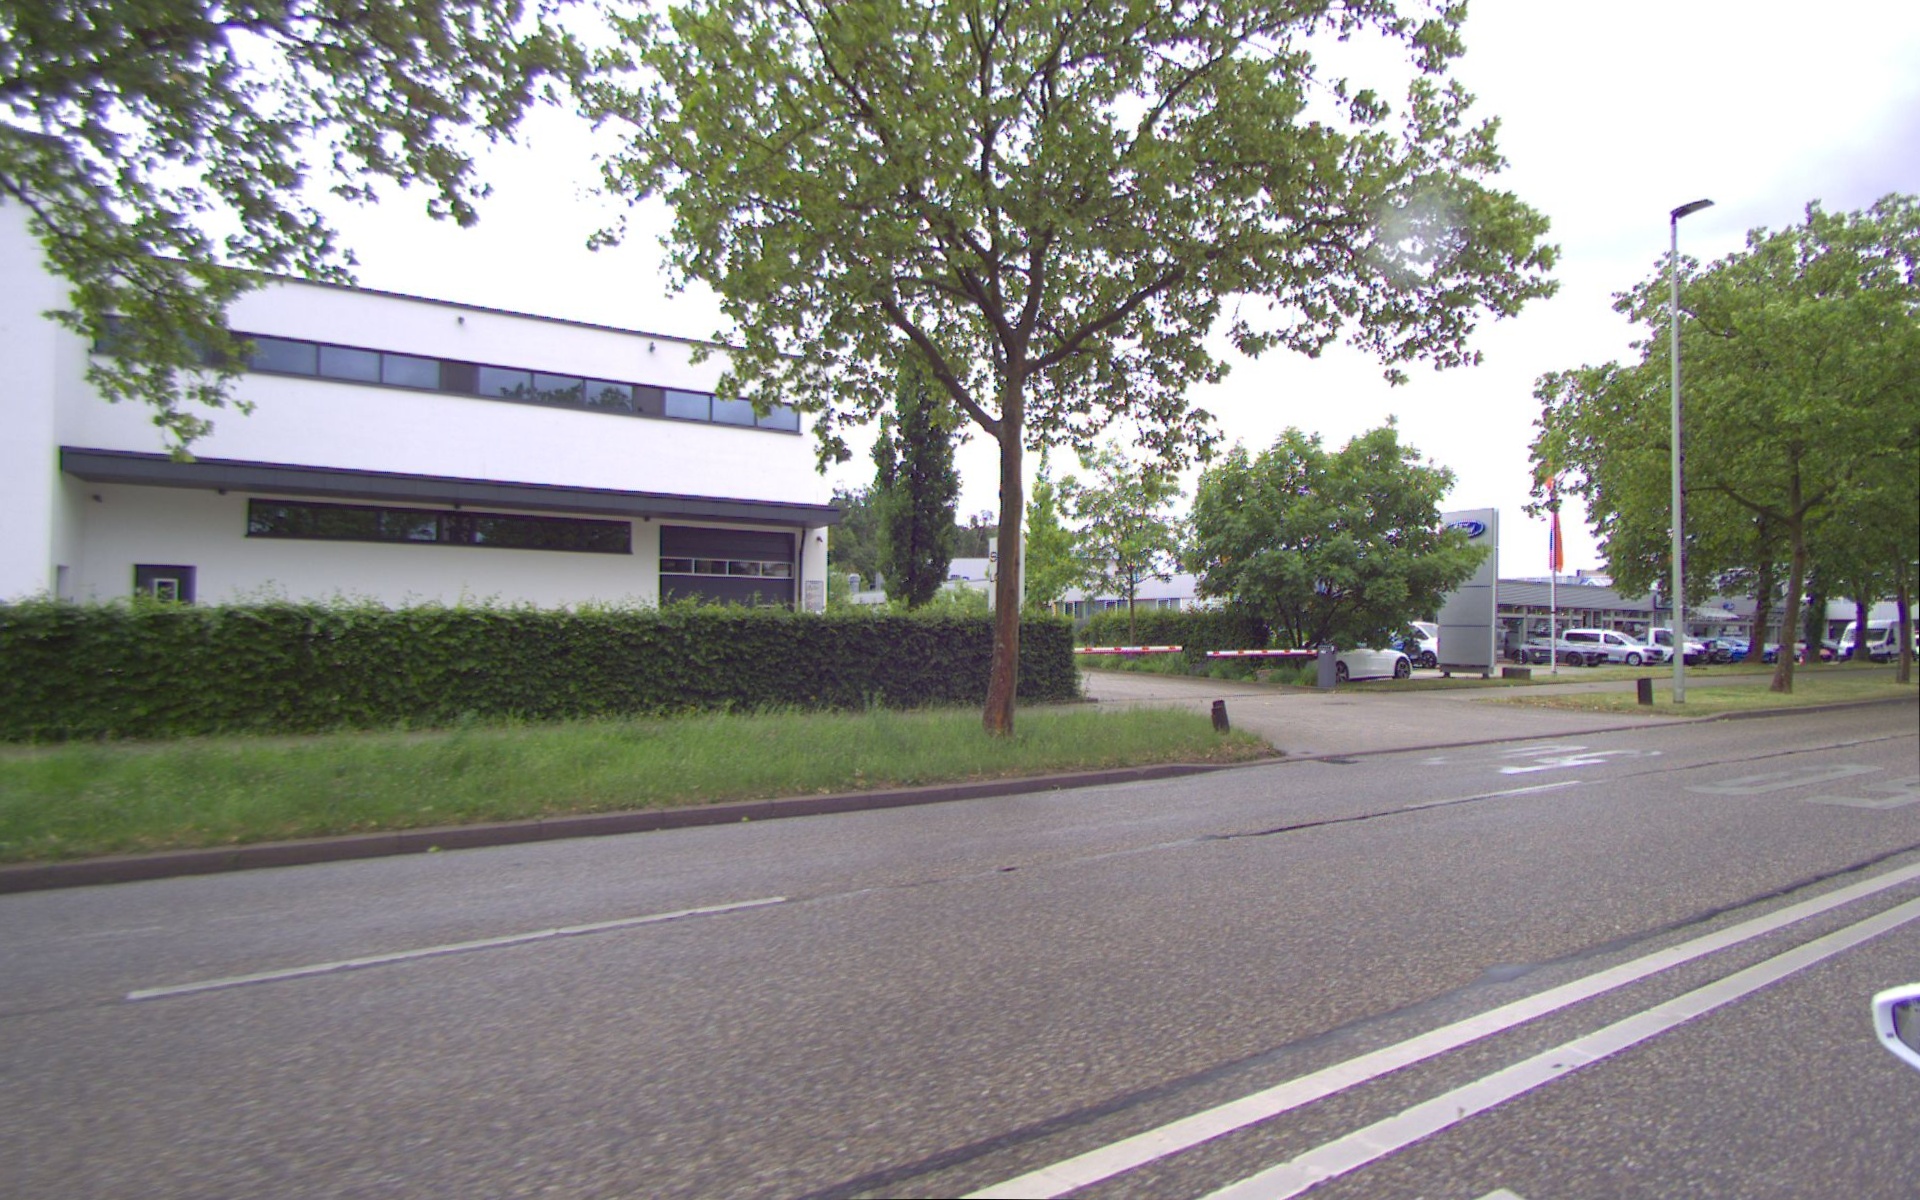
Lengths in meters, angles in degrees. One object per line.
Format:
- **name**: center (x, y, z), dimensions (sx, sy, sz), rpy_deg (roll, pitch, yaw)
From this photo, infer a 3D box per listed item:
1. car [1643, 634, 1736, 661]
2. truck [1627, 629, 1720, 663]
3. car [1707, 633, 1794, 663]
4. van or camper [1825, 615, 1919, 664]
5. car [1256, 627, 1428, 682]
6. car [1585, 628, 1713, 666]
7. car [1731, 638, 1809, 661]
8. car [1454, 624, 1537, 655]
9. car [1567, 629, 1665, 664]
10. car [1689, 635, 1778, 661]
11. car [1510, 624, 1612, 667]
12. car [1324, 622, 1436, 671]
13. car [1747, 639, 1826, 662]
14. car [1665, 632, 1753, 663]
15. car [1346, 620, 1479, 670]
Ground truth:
- **car**: center (42.748, 2.746, 58.943), dimensions (2.008, 1.480, 3.973), rpy_deg (1, -2, -27)
- **truck**: center (40.544, 2.573, 57.122), dimensions (1.983, 1.862, 3.955), rpy_deg (2, -2, -39)
- **car**: center (49.297, 2.997, 62.760), dimensions (1.833, 1.790, 3.990), rpy_deg (1, -2, -14)
- **van or camper**: center (48.999, 2.085, 53.866), dimensions (6.326, 2.503, 1.984), rpy_deg (1, 0, -30)
- **car**: center (11.446, 1.591, 29.993), dimensions (5.188, 1.516, 2.107), rpy_deg (1, -2, -32)
- **car**: center (37.797, 2.535, 55.259), dimensions (2.390, 1.928, 5.344), rpy_deg (1, -2, -33)
- **car**: center (54.613, 3.326, 67.836), dimensions (1.574, 1.487, 3.893), rpy_deg (1, -2, -18)
- **car**: center (31.816, 2.311, 59.756), dimensions (1.844, 1.790, 3.966), rpy_deg (1, -2, -32)
- **car**: center (34.766, 2.413, 53.324), dimensions (1.861, 1.790, 3.965), rpy_deg (1, -2, -32)
- **car**: center (47.176, 2.901, 61.347), dimensions (1.834, 1.540, 3.988), rpy_deg (1, -2, -15)
- **car**: center (29.776, 2.226, 49.893), dimensions (1.861, 2.040, 3.965), rpy_deg (1, -2, -32)
- **car**: center (17.460, 1.895, 41.908), dimensions (1.939, 1.914, 3.970), rpy_deg (1, -2, -29)
- **car**: center (57.092, 3.476, 69.461), dimensions (1.574, 1.487, 3.985), rpy_deg (1, -2, -18)
- **car**: center (44.839, 2.807, 60.244), dimensions (1.834, 1.790, 3.988), rpy_deg (1, -2, -15)
- **car**: center (19.668, 1.913, 43.868), dimensions (2.106, 2.040, 5.018), rpy_deg (1, -2, -32)
